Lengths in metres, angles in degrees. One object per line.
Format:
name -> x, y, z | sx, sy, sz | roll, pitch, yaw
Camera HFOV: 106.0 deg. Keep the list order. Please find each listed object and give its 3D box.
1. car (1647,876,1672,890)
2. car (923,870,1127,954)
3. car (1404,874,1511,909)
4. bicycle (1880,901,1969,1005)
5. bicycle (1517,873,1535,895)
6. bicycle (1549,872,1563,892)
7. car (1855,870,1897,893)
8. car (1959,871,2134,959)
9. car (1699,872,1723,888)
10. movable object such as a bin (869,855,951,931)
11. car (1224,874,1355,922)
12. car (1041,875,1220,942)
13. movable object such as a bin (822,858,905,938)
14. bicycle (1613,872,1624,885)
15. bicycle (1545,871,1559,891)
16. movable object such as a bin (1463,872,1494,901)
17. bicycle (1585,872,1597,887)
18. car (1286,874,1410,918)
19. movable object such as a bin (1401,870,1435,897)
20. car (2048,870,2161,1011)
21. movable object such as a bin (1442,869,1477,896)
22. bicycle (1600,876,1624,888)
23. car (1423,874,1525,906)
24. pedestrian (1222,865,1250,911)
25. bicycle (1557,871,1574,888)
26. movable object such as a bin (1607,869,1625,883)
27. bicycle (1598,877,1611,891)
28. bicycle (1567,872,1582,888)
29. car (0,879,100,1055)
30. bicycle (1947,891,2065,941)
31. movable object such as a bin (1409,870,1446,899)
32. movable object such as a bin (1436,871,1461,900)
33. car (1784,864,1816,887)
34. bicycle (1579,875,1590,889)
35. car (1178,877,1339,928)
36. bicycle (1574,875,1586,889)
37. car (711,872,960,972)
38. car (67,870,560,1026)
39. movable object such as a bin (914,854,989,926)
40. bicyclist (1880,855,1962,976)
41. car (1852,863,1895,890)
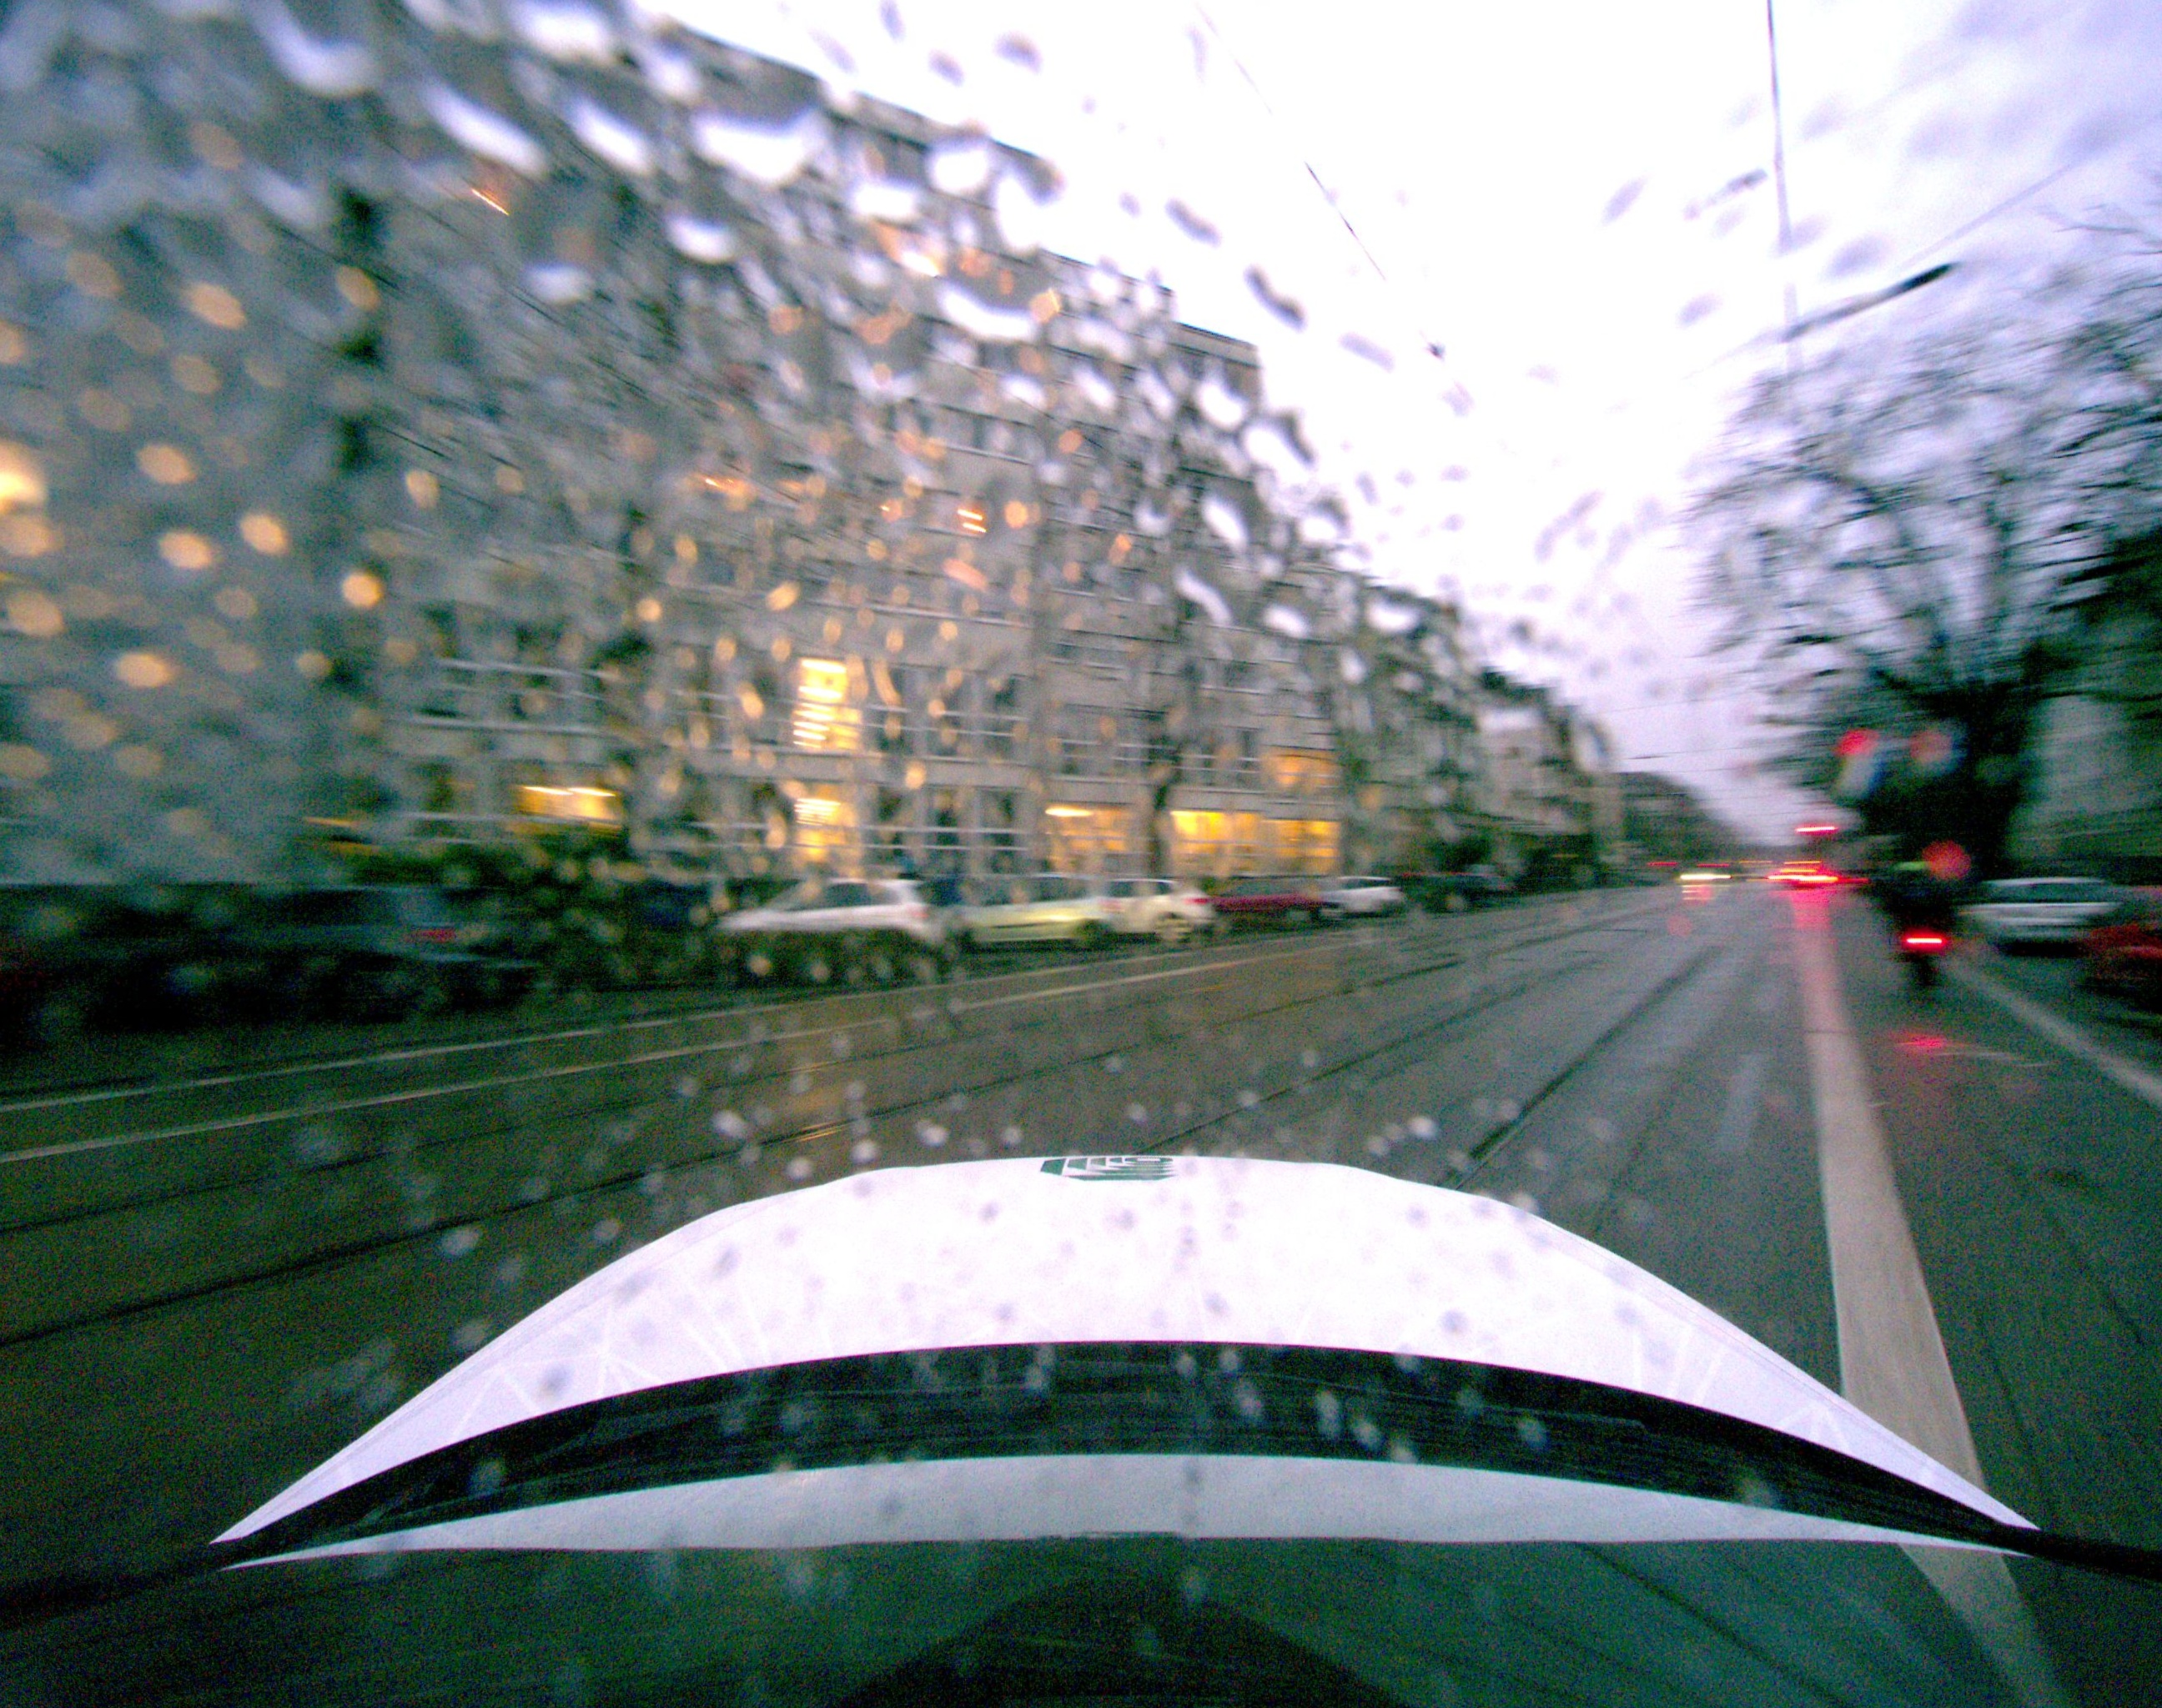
car -> 63.628, 3.157, 89.543 | 1.816, 1.447, 4.024 | -2, -2, 42
car -> -1.091, 1.146, 16.832 | 3.974, 1.564, 1.736 | -1, -1, 0
car -> 16.973, 1.663, 36.832 | 3.978, 1.471, 1.829 | -1, -1, -3
bicycle -> 10.645, 1.189, 10.329 | 0.701, 1.097, 2.041 | -2, -2, 45
bicycle -> 25.433, 1.728, 46.552 | 0.685, 1.212, 1.606 | -2, -2, 37
bicycle -> 30.206, 1.754, 51.751 | 0.685, 1.212, 1.606 | -2, -1, 33
car -> 51.863, 1.774, 53.163 | 1.661, 1.460, 4.067 | -2, -2, 41
car -> 19.412, 1.149, 16.547 | 1.675, 1.520, 3.660 | -2, -2, 41
car -> 76.549, 3.151, 98.980 | 2.026, 1.922, 5.131 | -2, -2, 40
movable object such as a bin -> -4.471, 0.989, 21.287 | 1.555, 1.860, 1.402 | -2, -1, 43
car -> 6.729, 1.435, 26.649 | 3.965, 1.463, 1.740 | -1, -3, 7
car -> 1.206, 1.257, 18.957 | 3.963, 1.444, 1.741 | -1, -3, 9
movable object such as a bin -> -5.413, 1.053, 20.243 | 1.555, 1.860, 1.326 | -2, -1, 43
bicycle -> 45.845, 2.063, 69.442 | 0.608, 1.080, 1.822 | -2, -2, 37
bicycle -> 28.789, 1.644, 49.803 | 0.623, 1.212, 1.606 | -2, -1, 33
movable object such as a bin -> 20.445, 1.659, 41.915 | 1.252, 1.450, 1.117 | -2, -1, 20
bicycle -> 38.558, 1.933, 61.557 | 0.481, 1.100, 1.943 | -3, -3, 40
car -> 9.467, 1.487, 29.090 | 3.832, 1.423, 1.734 | -1, -1, -4
movable object such as a bin -> 18.637, 1.605, 45.073 | 1.332, 1.450, 1.252 | 0, -2, -41
car -> 13.723, 0.990, 10.063 | 1.627, 1.523, 3.595 | -1, -1, 39
movable object such as a bin -> 20.826, 1.556, 44.827 | 1.332, 1.450, 1.252 | 0, -2, -41
bicycle -> 48.574, 2.544, 74.498 | 1.787, 1.080, 0.620 | -2, -2, 35
car -> 18.773, 1.700, 39.026 | 3.975, 1.428, 1.847 | -1, -1, -1
pedestrian -> 5.725, 1.241, 30.055 | 0.591, 1.677, 0.979 | -2, -2, 42
bicycle -> 32.948, 1.742, 55.379 | 0.685, 1.031, 1.604 | -3, -7, 43
movable object such as a bin -> 57.503, 2.372, 87.583 | 1.395, 1.531, 1.373 | -2, -2, 42
bicycle -> 41.973, 2.396, 65.318 | 0.619, 1.017, 1.817 | -3, -2, 40
bicycle -> 34.407, 1.826, 56.771 | 0.685, 1.031, 1.606 | -2, -6, 37
car -> -10.945, 1.000, 6.766 | 3.429, 1.493, 1.729 | -1, -1, 0
bicycle -> 21.251, 1.408, 18.767 | 1.696, 1.071, 0.667 | -2, -2, 42
movable object such as a bin -> 17.734, 1.559, 41.718 | 1.332, 1.450, 1.252 | 0, -2, -41
movable object such as a bin -> 19.156, 1.649, 42.456 | 1.079, 1.450, 1.117 | -2, -1, 21
car -> 62.007, 1.890, 70.274 | 1.974, 1.897, 4.787 | 0, -2, 41
bicycle -> 37.084, 2.076, 59.982 | 0.685, 1.031, 1.606 | -2, -3, 33
car -> 5.203, 1.417, 24.192 | 4.328, 1.352, 1.746 | -1, -2, -7
bicycle -> 35.763, 2.009, 58.337 | 0.685, 1.031, 1.606 | -2, -3, 33
car -> -4.170, 1.137, 14.315 | 3.855, 1.552, 1.691 | -1, -1, -3
car -> -8.345, 0.970, 9.156 | 3.831, 1.493, 1.694 | -1, -1, -2
movable object such as a bin -> -3.543, 0.958, 22.283 | 1.555, 1.860, 1.326 | -2, -1, 43
bicyclist -> 10.559, 0.745, 10.262 | 0.650, 1.446, 0.854 | -2, -2, 44
car -> 60.015, 1.687, 61.712 | 1.974, 1.900, 5.058 | -2, -2, 41
